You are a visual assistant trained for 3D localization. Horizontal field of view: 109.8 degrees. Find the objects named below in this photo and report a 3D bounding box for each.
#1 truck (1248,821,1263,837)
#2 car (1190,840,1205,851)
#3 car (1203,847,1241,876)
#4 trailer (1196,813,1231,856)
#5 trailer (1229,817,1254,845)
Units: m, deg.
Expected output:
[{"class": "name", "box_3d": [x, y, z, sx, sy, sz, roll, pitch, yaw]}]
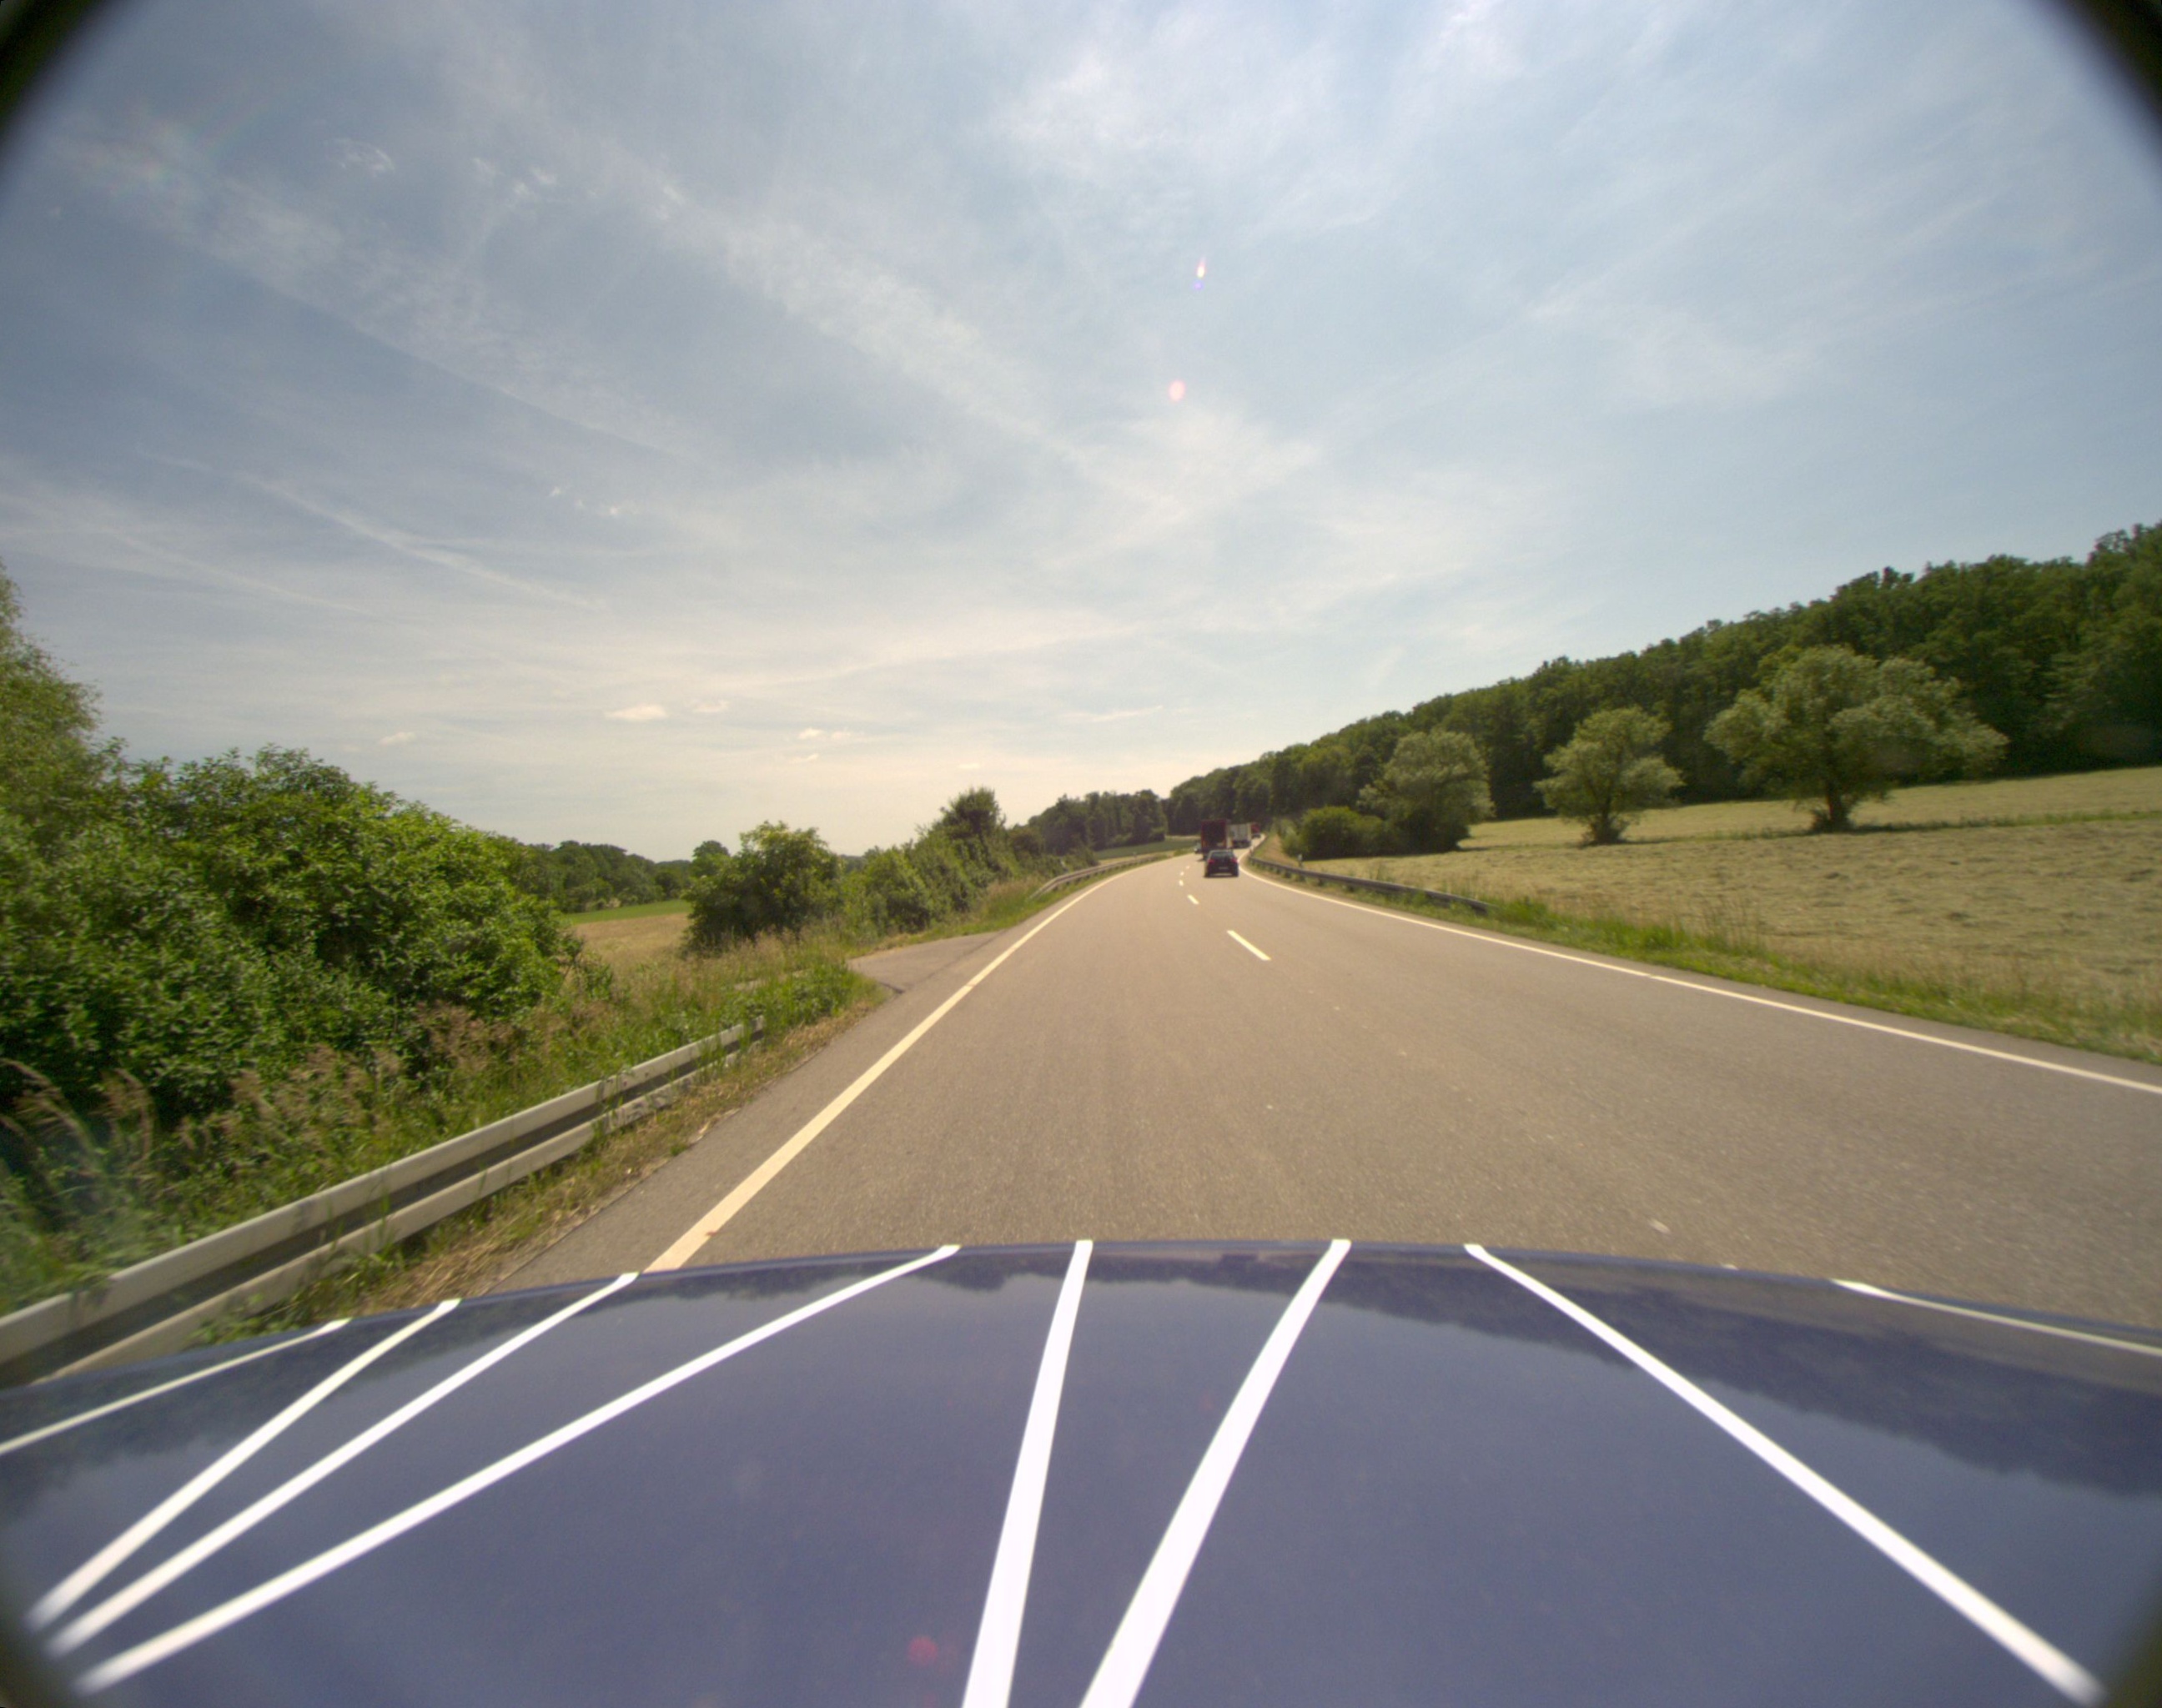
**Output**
[{"class": "truck", "box_3d": [44.299, -6.334, 192.467, 2.707, 3.629, 10.109, -3, 1, 17]}, {"class": "car", "box_3d": [16.160, -1.207, 105.171, 1.620, 1.428, 3.446, -4, 1, 15]}, {"class": "car", "box_3d": [7.846, 0.374, 42.515, 1.703, 1.461, 4.201, -2, 1, 6]}, {"class": "trailer", "box_3d": [14.168, -2.055, 81.574, 3.247, 4.126, 14.451, -2, 1, 9]}, {"class": "trailer", "box_3d": [27.128, -3.908, 127.586, 3.378, 4.376, 13.756, -2, 1, 14]}]
